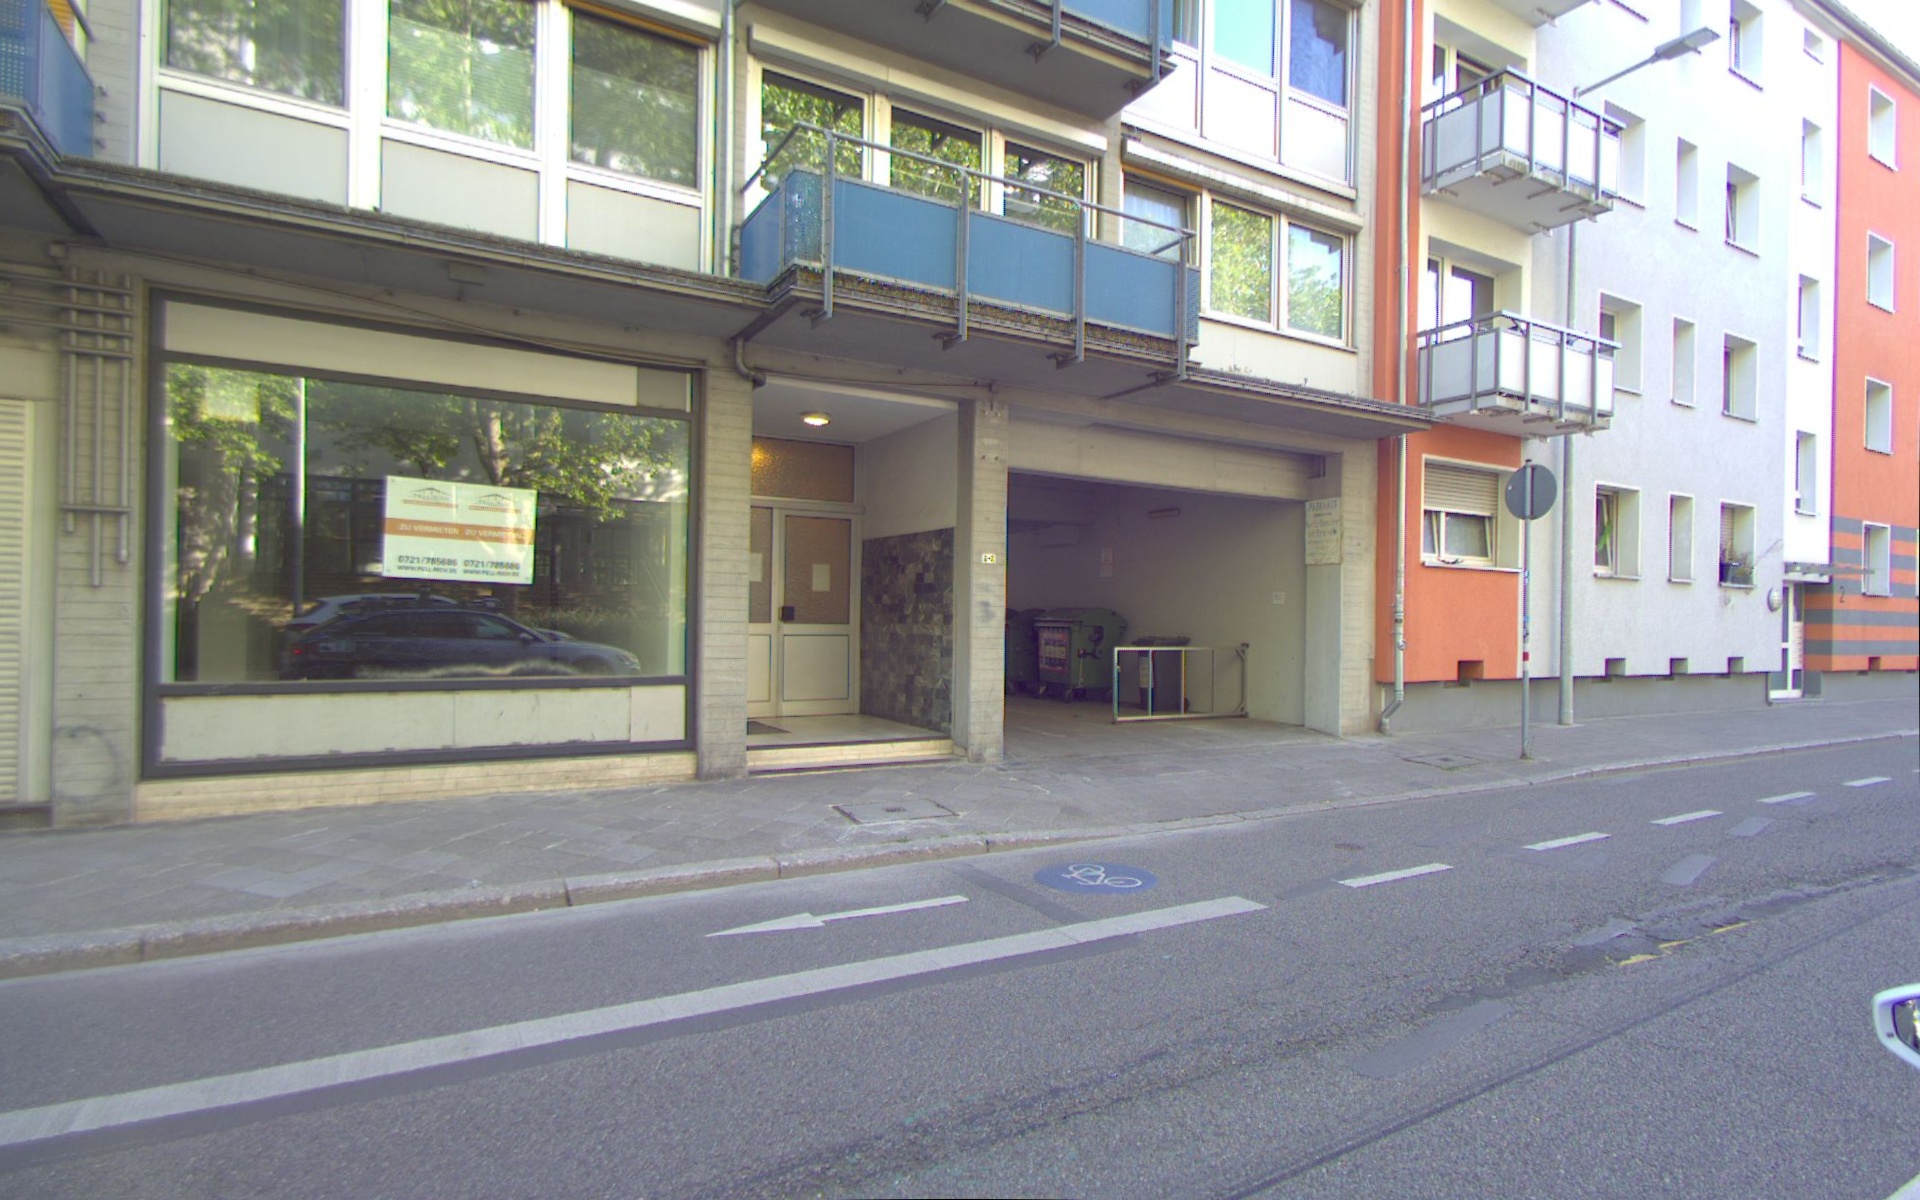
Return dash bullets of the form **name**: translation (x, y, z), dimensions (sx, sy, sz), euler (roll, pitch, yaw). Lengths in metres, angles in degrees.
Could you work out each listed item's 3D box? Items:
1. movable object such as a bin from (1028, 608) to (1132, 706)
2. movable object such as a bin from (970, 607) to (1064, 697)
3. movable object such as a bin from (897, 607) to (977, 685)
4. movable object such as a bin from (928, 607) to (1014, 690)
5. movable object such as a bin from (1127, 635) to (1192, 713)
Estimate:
- **movable object such as a bin**: translation (1.877, 0.867, 15.802), dimensions (1.116, 1.444, 1.201), euler (1, 0, -30)
- **movable object such as a bin**: translation (0.965, 0.862, 17.162), dimensions (1.116, 1.444, 1.201), euler (1, 0, -30)
- **movable object such as a bin**: translation (-0.453, 0.874, 19.609), dimensions (1.116, 1.444, 1.201), euler (1, 0, -30)
- **movable object such as a bin**: translation (0.195, 0.868, 18.460), dimensions (1.116, 1.444, 1.201), euler (1, 0, -30)
- **movable object such as a bin**: translation (2.874, 1.050, 14.492), dimensions (0.667, 1.079, 0.639), euler (1, 0, -30)
